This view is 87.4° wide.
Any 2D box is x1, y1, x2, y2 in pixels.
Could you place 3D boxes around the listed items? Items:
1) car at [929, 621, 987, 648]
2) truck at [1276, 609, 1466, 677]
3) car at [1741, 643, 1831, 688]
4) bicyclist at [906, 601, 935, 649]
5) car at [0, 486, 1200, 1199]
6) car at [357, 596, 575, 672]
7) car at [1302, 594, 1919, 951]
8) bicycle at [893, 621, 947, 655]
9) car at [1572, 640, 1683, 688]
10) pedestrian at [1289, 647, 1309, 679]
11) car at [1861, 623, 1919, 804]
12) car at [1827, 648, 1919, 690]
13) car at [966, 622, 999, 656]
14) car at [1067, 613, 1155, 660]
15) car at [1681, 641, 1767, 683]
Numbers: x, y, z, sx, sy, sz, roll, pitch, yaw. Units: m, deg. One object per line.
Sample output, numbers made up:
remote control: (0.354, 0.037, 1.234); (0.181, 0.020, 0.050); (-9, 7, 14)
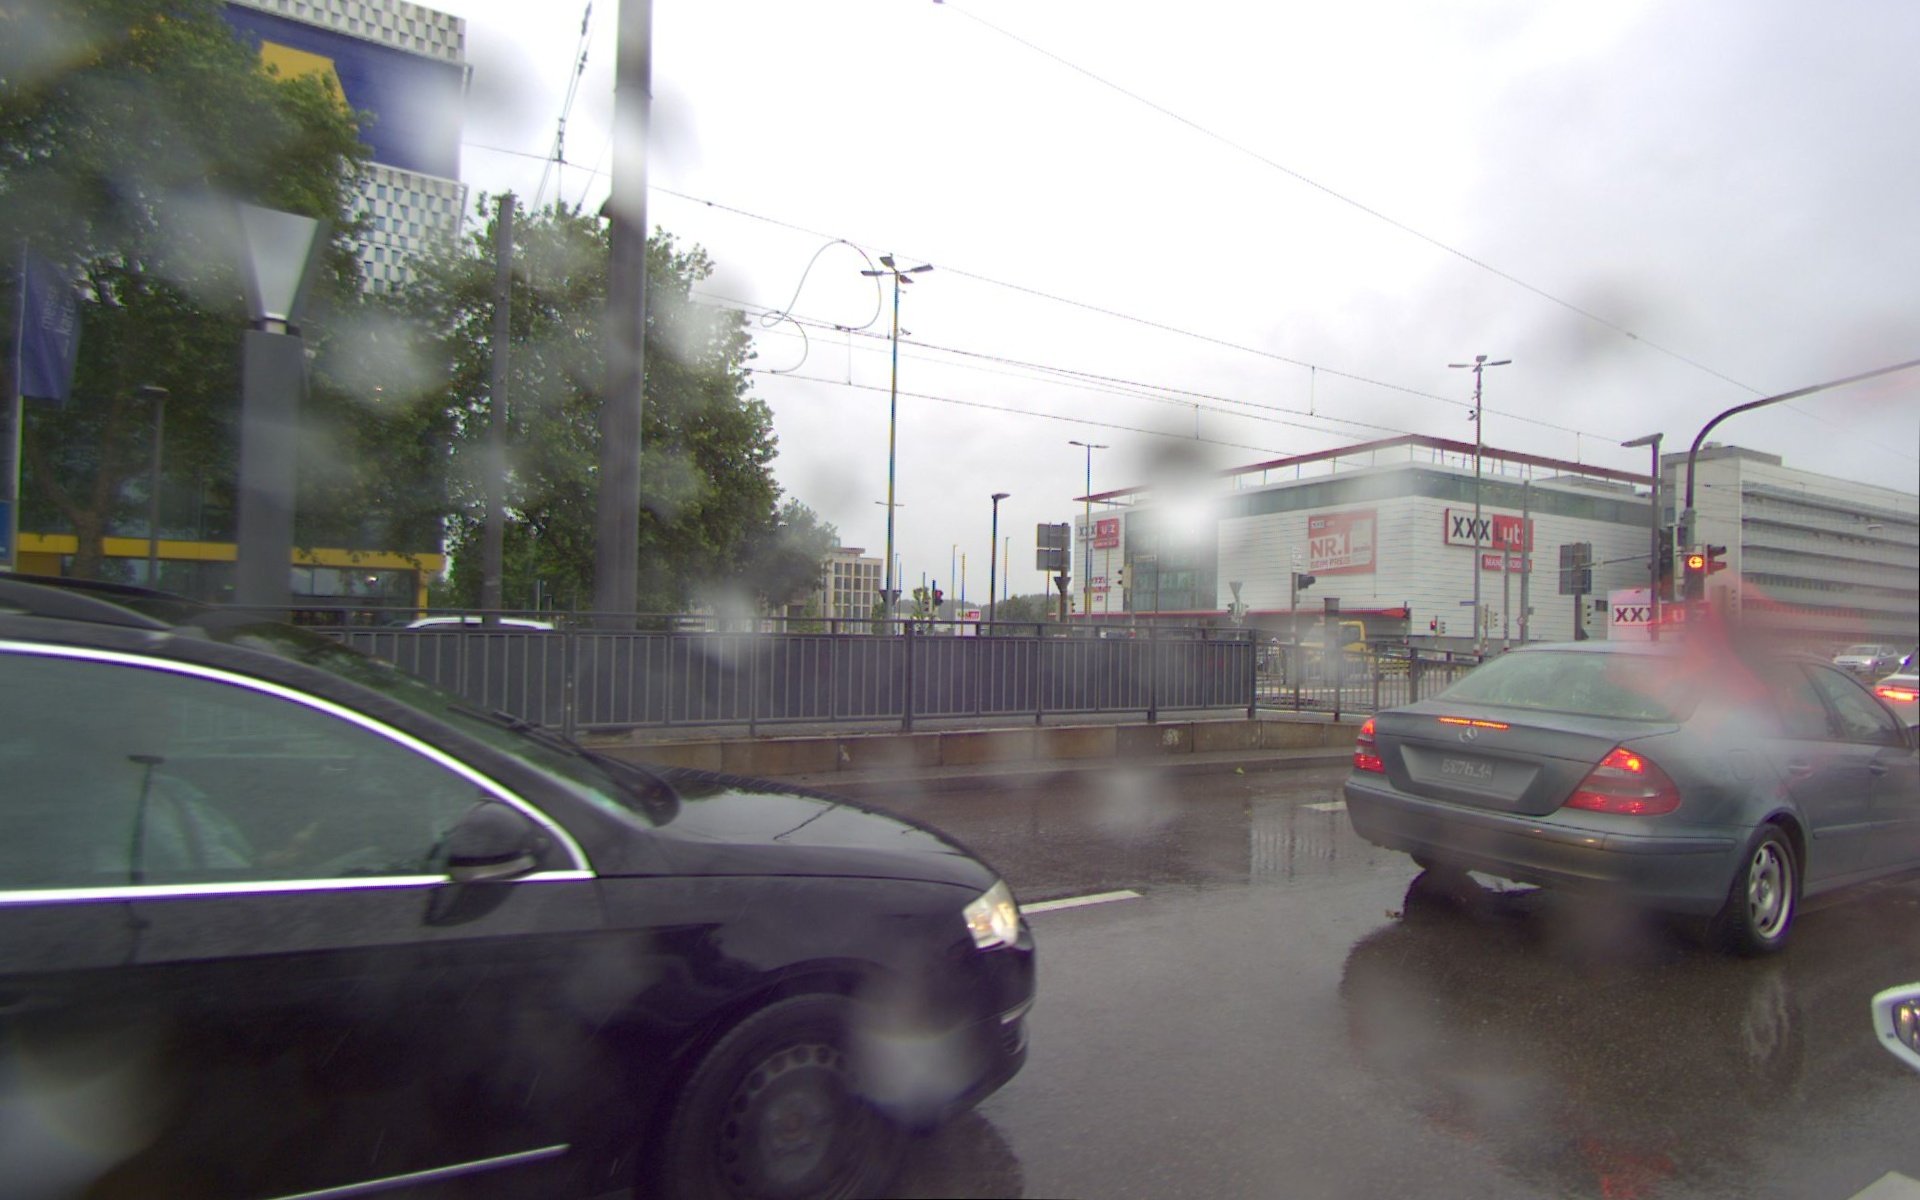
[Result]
car: (-0.101, 2.323, 68.270); (3.723, 1.645, 2.001); (3, -1, 3)
truck: (15.851, 1.675, 38.595); (7.535, 2.309, 2.343); (3, -1, -27)
car: (38.212, 3.031, 46.474); (3.952, 1.821, 1.838); (5, -2, -28)
bicyclist: (-1.269, 0.798, 32.177); (0.639, 1.483, 0.681); (3, 0, -28)
car: (-1.798, 0.587, 2.273); (4.542, 1.521, 1.763); (3, -1, -29)
car: (-9.993, 0.710, 20.413); (3.788, 1.353, 1.579); (3, -1, -31)
car: (4.323, 0.808, 5.965); (4.592, 1.417, 1.753); (4, -1, -31)
bicycle: (-1.269, 1.222, 32.183); (1.688, 1.000, 0.448); (3, -1, -29)
car: (26.469, 2.538, 39.820); (3.947, 1.721, 1.886); (3, -1, -25)
pedestrian: (16.342, 3.029, 48.431); (0.643, 1.517, 0.560); (3, 0, -30)
car: (10.388, 1.064, 9.390); (4.248, 1.555, 1.720); (2, 0, -31)
car: (44.891, 3.386, 49.397); (3.946, 1.851, 1.924); (3, -1, -25)
car: (1.219, 2.062, 53.728); (1.670, 1.655, 3.651); (3, -1, 2)
car: (7.236, 1.750, 48.671); (1.976, 2.040, 4.296); (3, -1, -28)
car: (36.824, 2.984, 48.443); (3.487, 1.682, 1.726); (6, -1, -22)
